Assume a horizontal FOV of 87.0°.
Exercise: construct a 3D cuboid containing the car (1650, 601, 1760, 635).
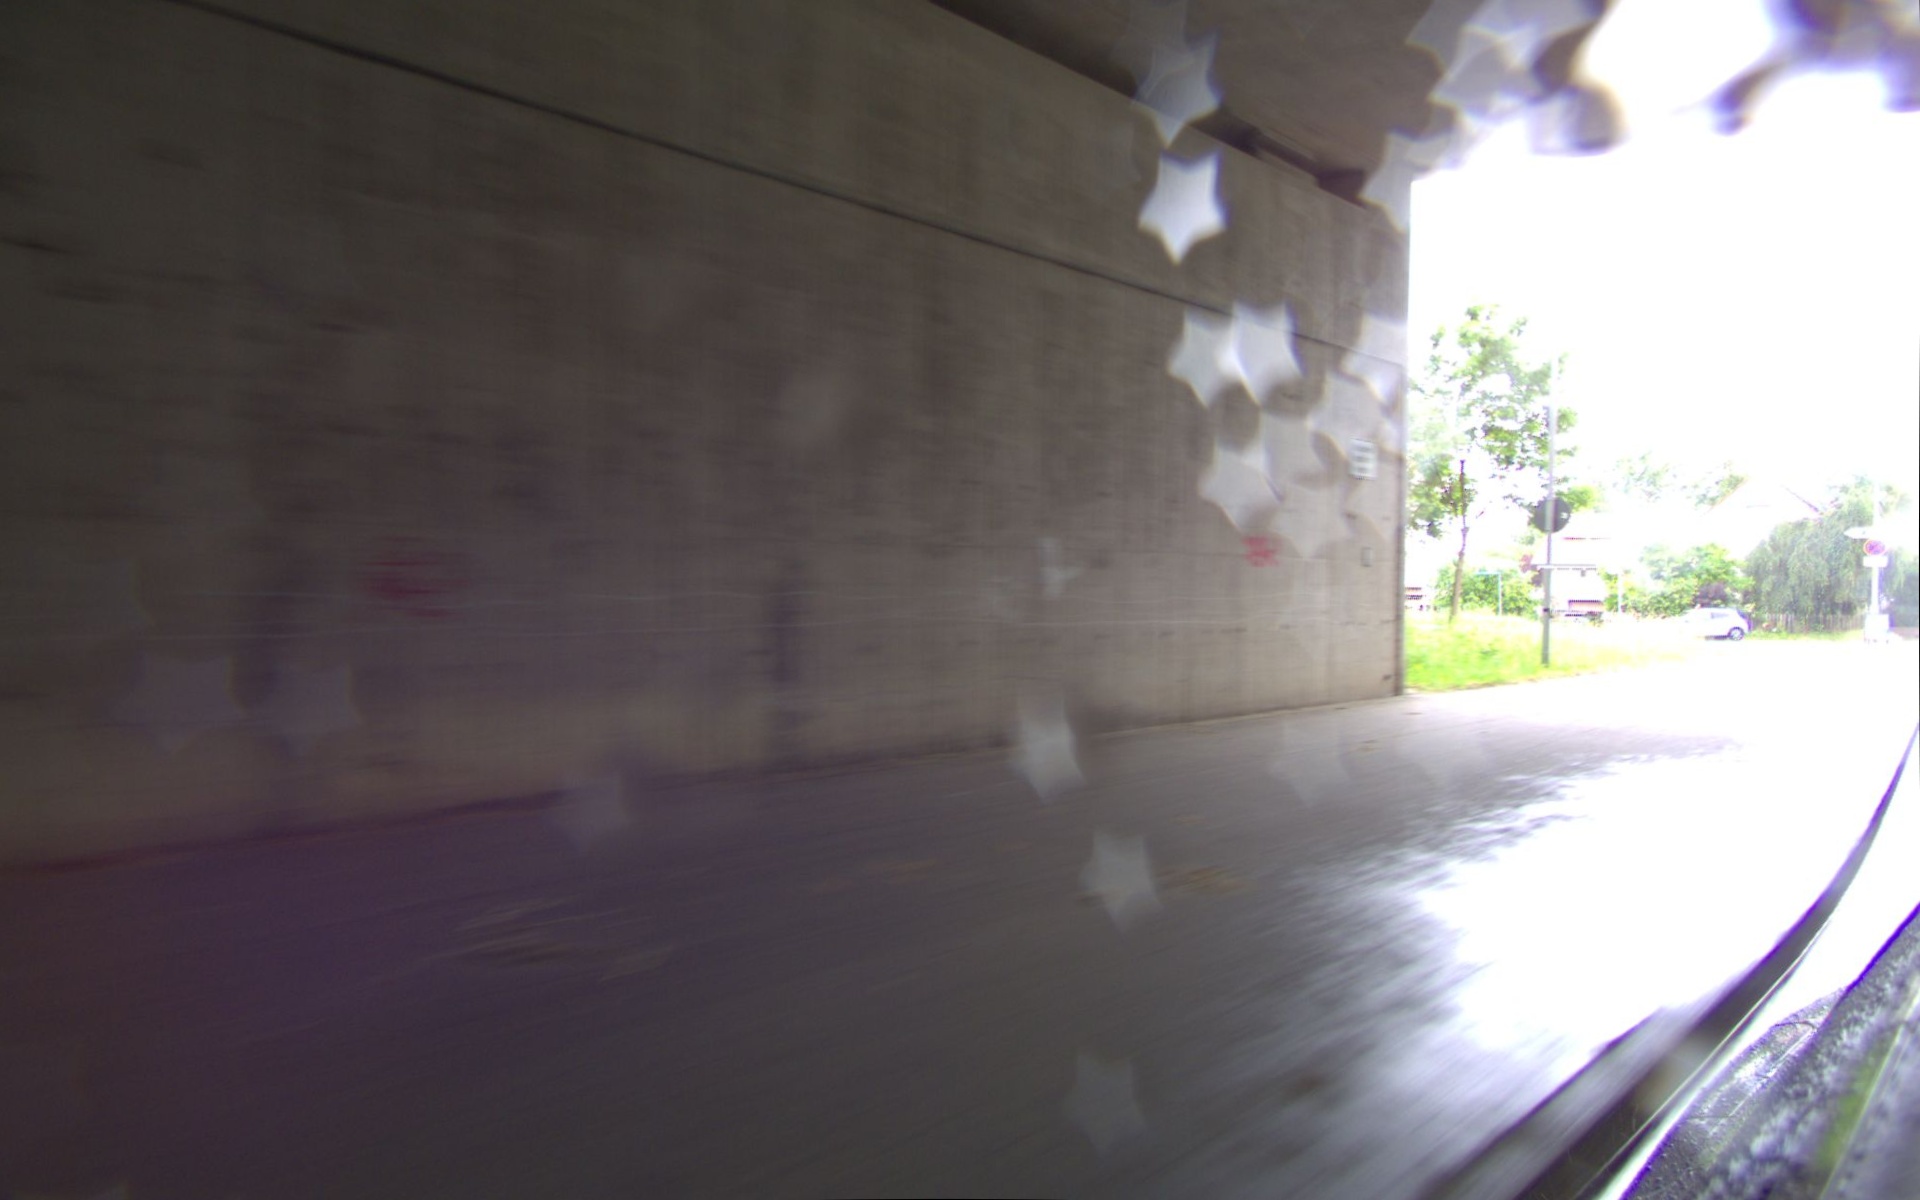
[{"bbox_3d":[35.364,0.854,48.163,3.802,1.551,1.711,0,0,16],"label":"car"}]
